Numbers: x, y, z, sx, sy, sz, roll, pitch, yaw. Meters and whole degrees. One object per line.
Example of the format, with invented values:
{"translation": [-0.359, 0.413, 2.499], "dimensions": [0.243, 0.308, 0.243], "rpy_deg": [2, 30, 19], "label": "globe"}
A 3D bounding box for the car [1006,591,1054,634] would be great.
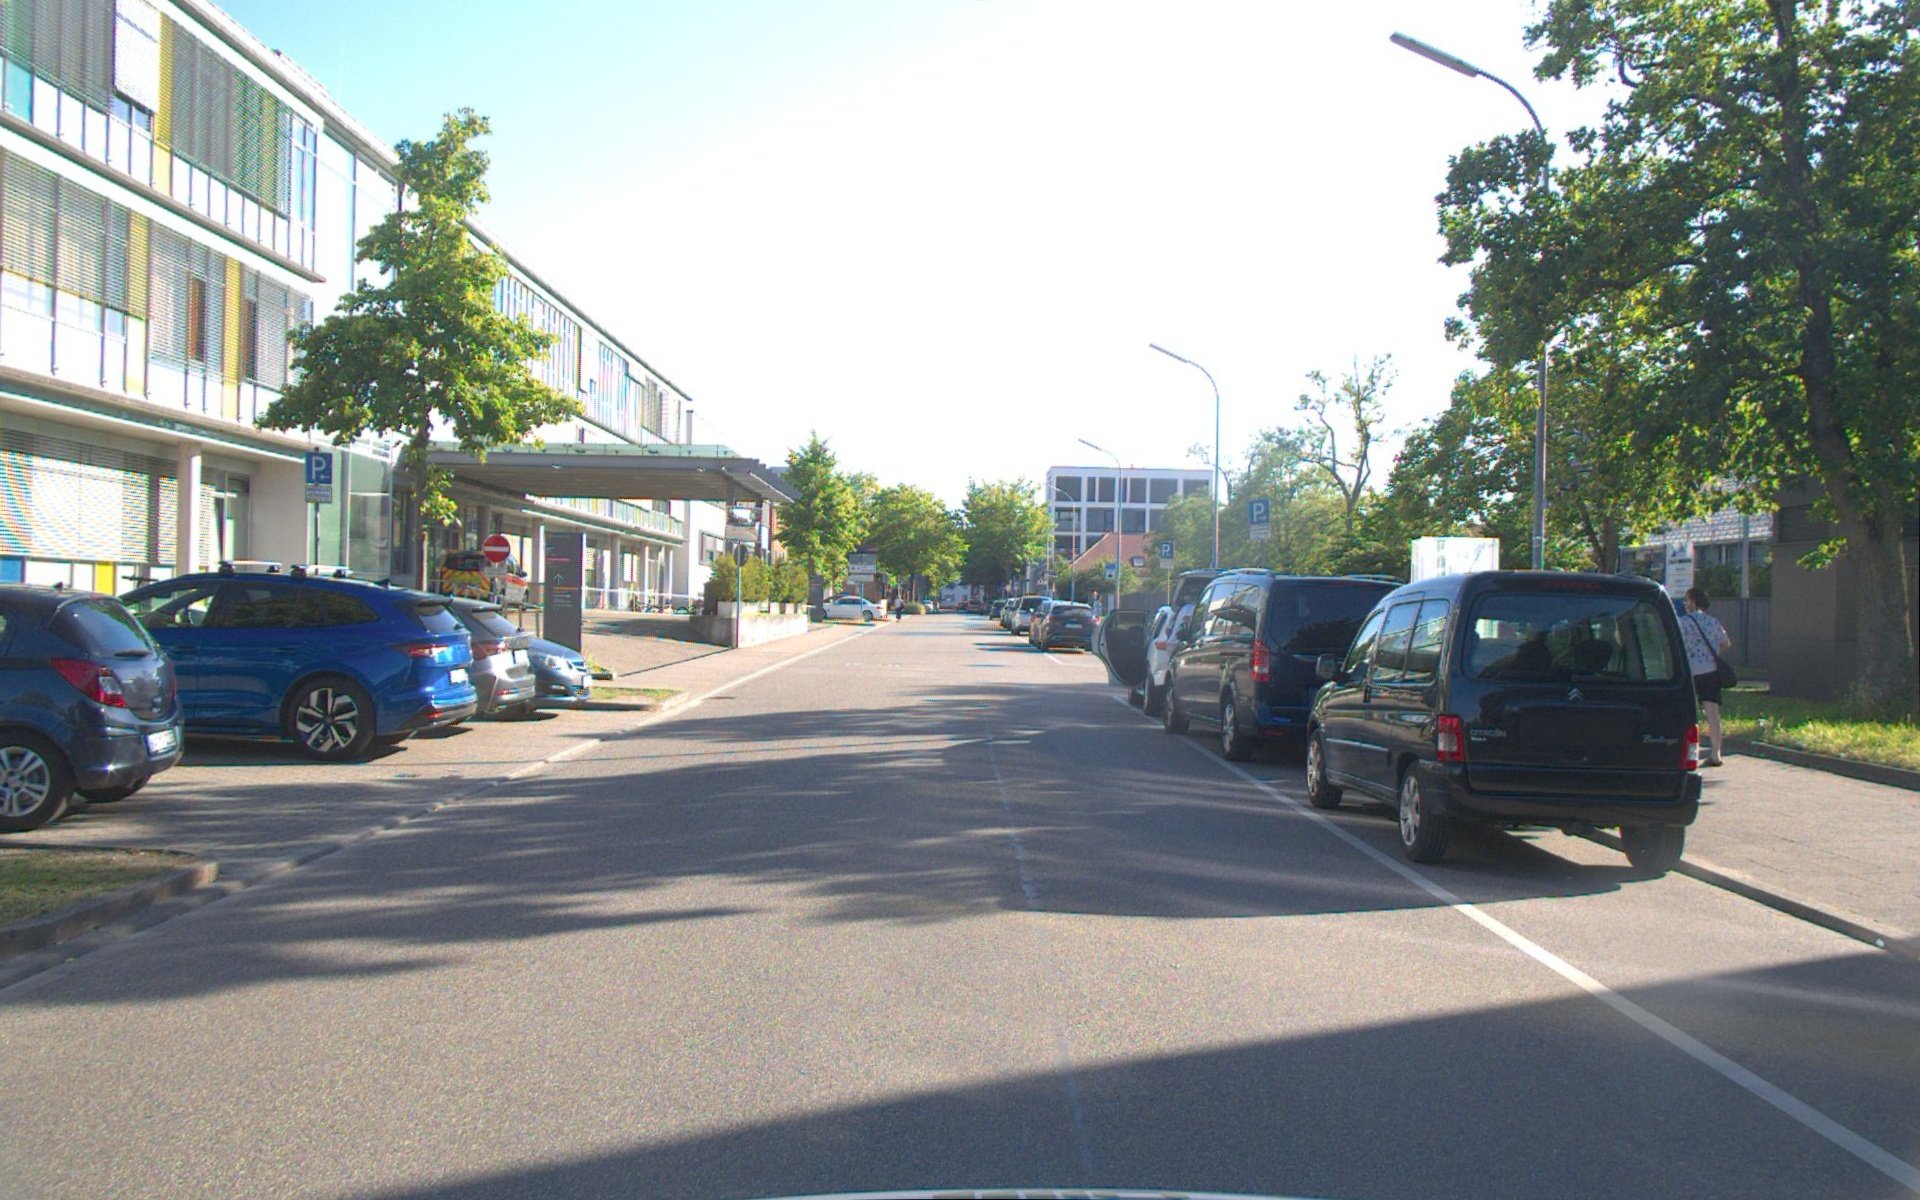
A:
{"translation": [3.079, 0.537, 73.603], "dimensions": [1.772, 1.752, 4.703], "rpy_deg": [3, 0, -1], "label": "car"}

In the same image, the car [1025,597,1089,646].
{"translation": [3.312, 0.693, 57.156], "dimensions": [1.772, 1.536, 4.721], "rpy_deg": [3, 0, -1], "label": "car"}

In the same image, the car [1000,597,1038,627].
{"translation": [3.136, 0.617, 88.673], "dimensions": [1.667, 1.513, 3.978], "rpy_deg": [3, 0, -3], "label": "car"}

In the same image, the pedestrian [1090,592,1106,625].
{"translation": [6.846, 0.425, 82.034], "dimensions": [0.667, 1.639, 0.540], "rpy_deg": [3, -1, -3], "label": "pedestrian"}

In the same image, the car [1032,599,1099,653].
{"translation": [3.235, 0.765, 51.372], "dimensions": [1.666, 1.513, 4.214], "rpy_deg": [3, 0, -1], "label": "car"}

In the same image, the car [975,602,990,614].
{"translation": [2.959, 1.040, 214.657], "dimensions": [1.910, 1.606, 3.836], "rpy_deg": [1, 0, 1], "label": "car"}

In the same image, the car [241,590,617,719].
{"translation": [-6.412, 0.639, 20.304], "dimensions": [4.047, 1.492, 1.753], "rpy_deg": [0, 0, -2], "label": "car"}

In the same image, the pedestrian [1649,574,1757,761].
{"translation": [7.150, 0.631, 15.949], "dimensions": [0.677, 1.759, 0.775], "rpy_deg": [0, 0, -1], "label": "pedestrian"}

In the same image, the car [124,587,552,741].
{"translation": [-6.551, 0.653, 17.754], "dimensions": [3.907, 1.463, 1.730], "rpy_deg": [2, 0, -3], "label": "car"}

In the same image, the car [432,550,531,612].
{"translation": [-15.573, -0.599, 54.105], "dimensions": [1.880, 1.924, 4.711], "rpy_deg": [1, 0, -1], "label": "car"}

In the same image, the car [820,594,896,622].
{"translation": [-6.105, 0.492, 98.875], "dimensions": [4.424, 1.391, 1.698], "rpy_deg": [4, 0, -5], "label": "car"}

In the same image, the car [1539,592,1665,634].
{"translation": [22.724, 0.466, 58.627], "dimensions": [3.811, 1.404, 1.674], "rpy_deg": [1, 0, -4], "label": "car"}

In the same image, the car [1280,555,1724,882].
{"translation": [3.570, 0.682, 11.767], "dimensions": [1.667, 1.826, 4.294], "rpy_deg": [3, 0, 0], "label": "car"}

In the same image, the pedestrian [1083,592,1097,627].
{"translation": [6.494, 0.479, 82.635], "dimensions": [0.511, 1.738, 0.522], "rpy_deg": [3, -1, -3], "label": "pedestrian"}

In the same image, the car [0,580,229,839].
{"translation": [-6.922, 0.594, 10.594], "dimensions": [3.671, 1.514, 1.775], "rpy_deg": [3, -1, -9], "label": "car"}

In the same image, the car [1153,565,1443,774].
{"translation": [3.501, 0.649, 18.185], "dimensions": [1.827, 1.902, 5.019], "rpy_deg": [3, 0, -3], "label": "car"}

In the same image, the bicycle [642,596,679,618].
{"translation": [-14.504, 0.345, 80.164], "dimensions": [1.680, 1.011, 0.536], "rpy_deg": [1, 0, -2], "label": "bicycle"}

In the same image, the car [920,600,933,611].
{"translation": [-4.570, 0.771, 225.038], "dimensions": [1.731, 1.513, 3.999], "rpy_deg": [1, 0, -1], "label": "car"}

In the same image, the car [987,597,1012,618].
{"translation": [2.955, 0.562, 124.172], "dimensions": [1.780, 1.478, 4.214], "rpy_deg": [1, 0, 1], "label": "car"}

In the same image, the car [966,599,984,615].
{"translation": [1.518, 0.733, 171.211], "dimensions": [1.731, 1.575, 4.065], "rpy_deg": [1, 0, -1], "label": "car"}

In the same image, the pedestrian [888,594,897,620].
{"translation": [-4.082, 0.416, 100.137], "dimensions": [0.527, 1.550, 0.607], "rpy_deg": [1, 0, 1], "label": "pedestrian"}

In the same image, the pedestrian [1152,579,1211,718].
{"translation": [2.927, 0.632, 21.779], "dimensions": [0.576, 1.776, 0.705], "rpy_deg": [3, 0, 18], "label": "pedestrian"}

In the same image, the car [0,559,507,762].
{"translation": [-6.578, 0.531, 15.462], "dimensions": [4.136, 1.680, 1.959], "rpy_deg": [1, 0, -3], "label": "car"}

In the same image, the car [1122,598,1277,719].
{"translation": [3.413, 0.782, 24.231], "dimensions": [1.630, 1.540, 4.114], "rpy_deg": [3, 0, 0], "label": "car"}
